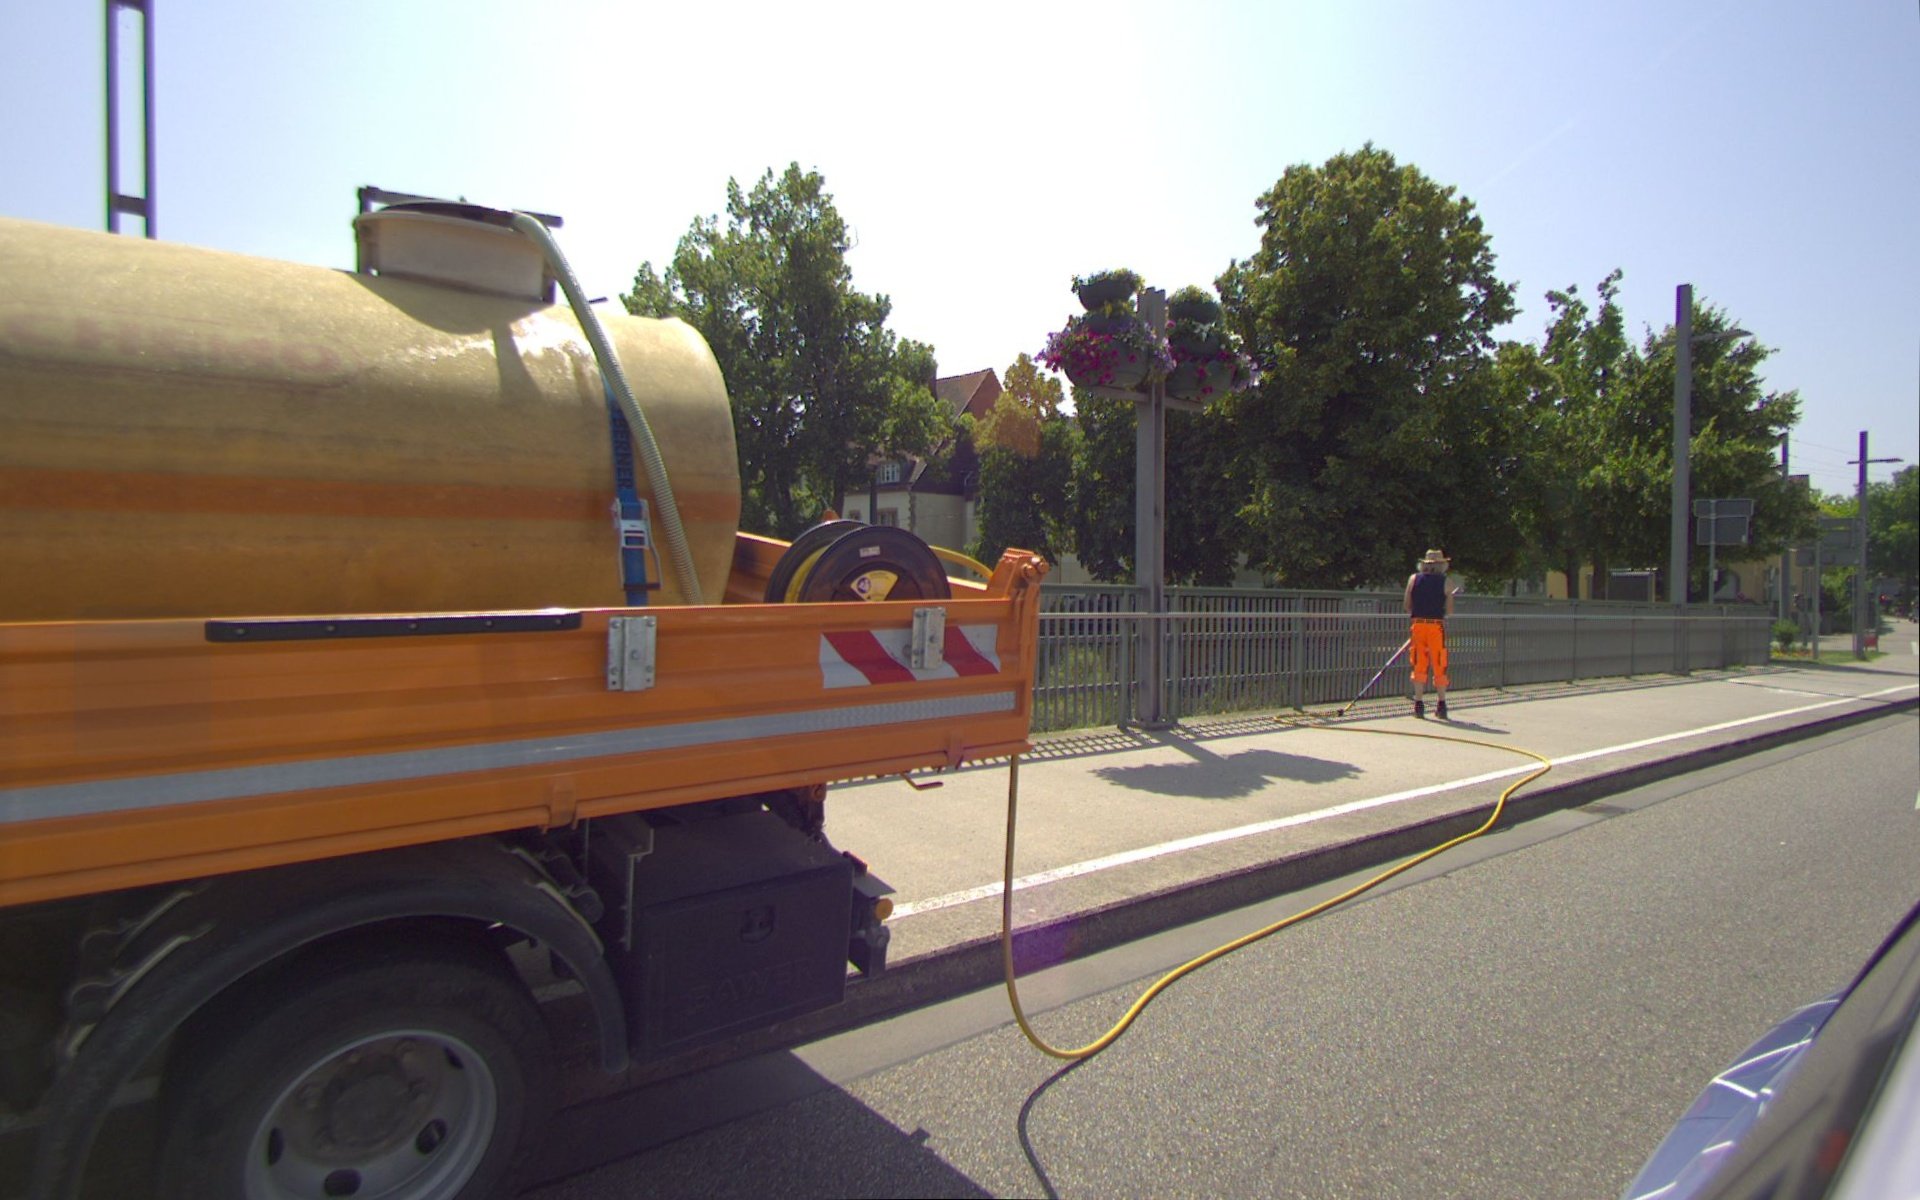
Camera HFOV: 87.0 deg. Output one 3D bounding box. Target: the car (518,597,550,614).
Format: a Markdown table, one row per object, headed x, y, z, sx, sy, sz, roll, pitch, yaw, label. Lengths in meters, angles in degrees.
| x | y | z | sx | sy | sz | roll | pitch | yaw | label |
| --- | --- | --- | --- | --- | --- | --- | --- | --- | --- |
| -42.842 | 0.585 | 101.743 | 1.797 | 1.572 | 4.123 | 1 | -2 | -42 | car |

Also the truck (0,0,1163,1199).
| x | y | z | sx | sy | sz | roll | pitch | yaw | label |
| --- | --- | --- | --- | --- | --- | --- | --- | --- | --- |
| -2.542 | -0.029 | 2.107 | 5.716 | 2.723 | 2.614 | 0 | 4 | -38 | truck |

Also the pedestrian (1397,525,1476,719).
| x | y | z | sx | sy | sz | roll | pitch | yaw | label |
| --- | --- | --- | --- | --- | --- | --- | --- | --- | --- |
| 5.077 | 0.212 | 10.779 | 0.662 | 1.984 | 0.547 | -1 | 2 | -44 | pedestrian |
